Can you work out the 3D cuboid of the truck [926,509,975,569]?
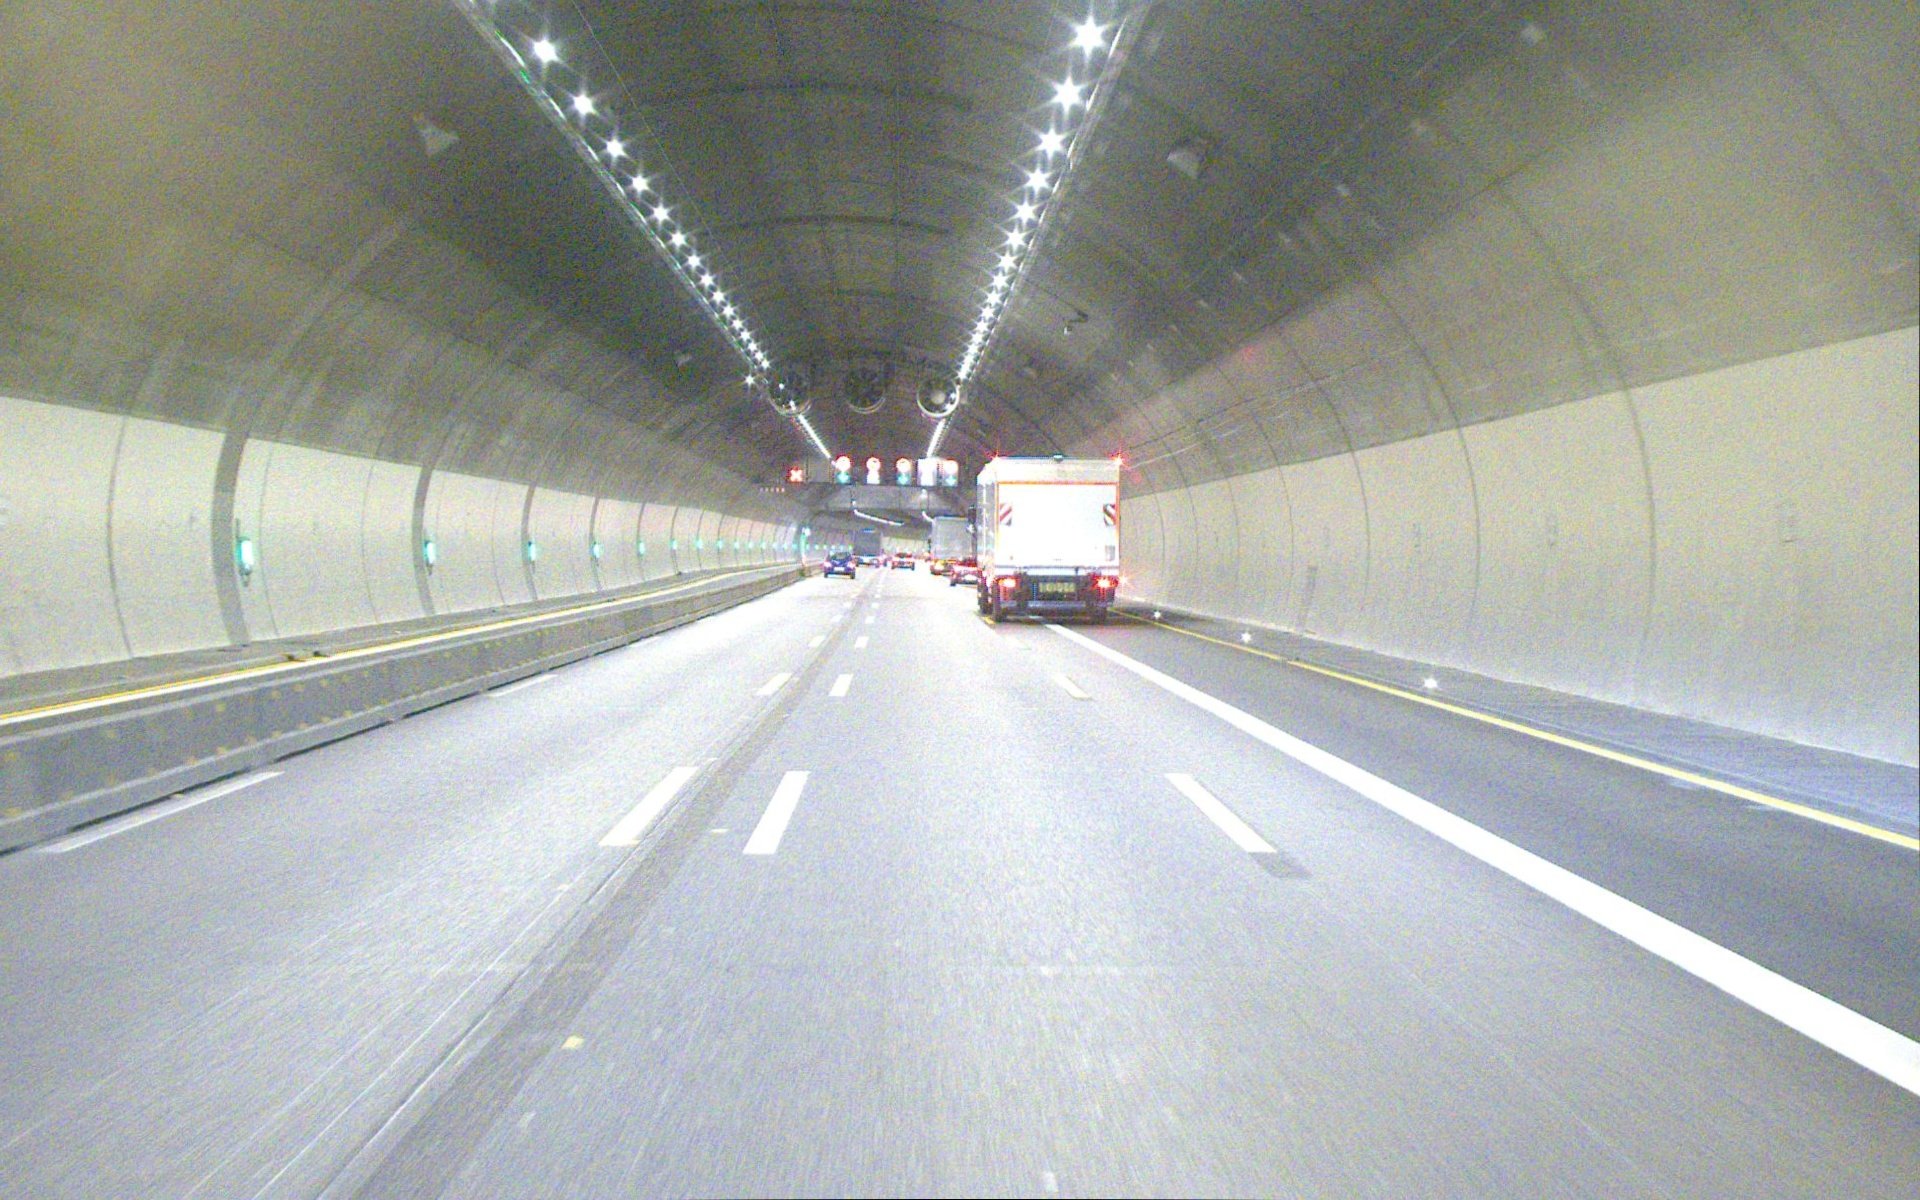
[{"bbox_3d":[-0.628,-4.172,238.515,3.066,3.904,10.367,2,0,1],"label":"truck"}]

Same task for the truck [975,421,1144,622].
[{"bbox_3d":[2.016,-1.583,73.933,3.092,3.904,10.368,2,0,-1],"label":"truck"}]

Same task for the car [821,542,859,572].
[{"bbox_3d":[-6.077,-2.190,174.830,1.758,1.456,4.119,2,1,0],"label":"car"}]

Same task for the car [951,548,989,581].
[{"bbox_3d":[0.474,-1.671,162.722,1.739,1.456,3.960,2,1,1],"label":"car"}]
